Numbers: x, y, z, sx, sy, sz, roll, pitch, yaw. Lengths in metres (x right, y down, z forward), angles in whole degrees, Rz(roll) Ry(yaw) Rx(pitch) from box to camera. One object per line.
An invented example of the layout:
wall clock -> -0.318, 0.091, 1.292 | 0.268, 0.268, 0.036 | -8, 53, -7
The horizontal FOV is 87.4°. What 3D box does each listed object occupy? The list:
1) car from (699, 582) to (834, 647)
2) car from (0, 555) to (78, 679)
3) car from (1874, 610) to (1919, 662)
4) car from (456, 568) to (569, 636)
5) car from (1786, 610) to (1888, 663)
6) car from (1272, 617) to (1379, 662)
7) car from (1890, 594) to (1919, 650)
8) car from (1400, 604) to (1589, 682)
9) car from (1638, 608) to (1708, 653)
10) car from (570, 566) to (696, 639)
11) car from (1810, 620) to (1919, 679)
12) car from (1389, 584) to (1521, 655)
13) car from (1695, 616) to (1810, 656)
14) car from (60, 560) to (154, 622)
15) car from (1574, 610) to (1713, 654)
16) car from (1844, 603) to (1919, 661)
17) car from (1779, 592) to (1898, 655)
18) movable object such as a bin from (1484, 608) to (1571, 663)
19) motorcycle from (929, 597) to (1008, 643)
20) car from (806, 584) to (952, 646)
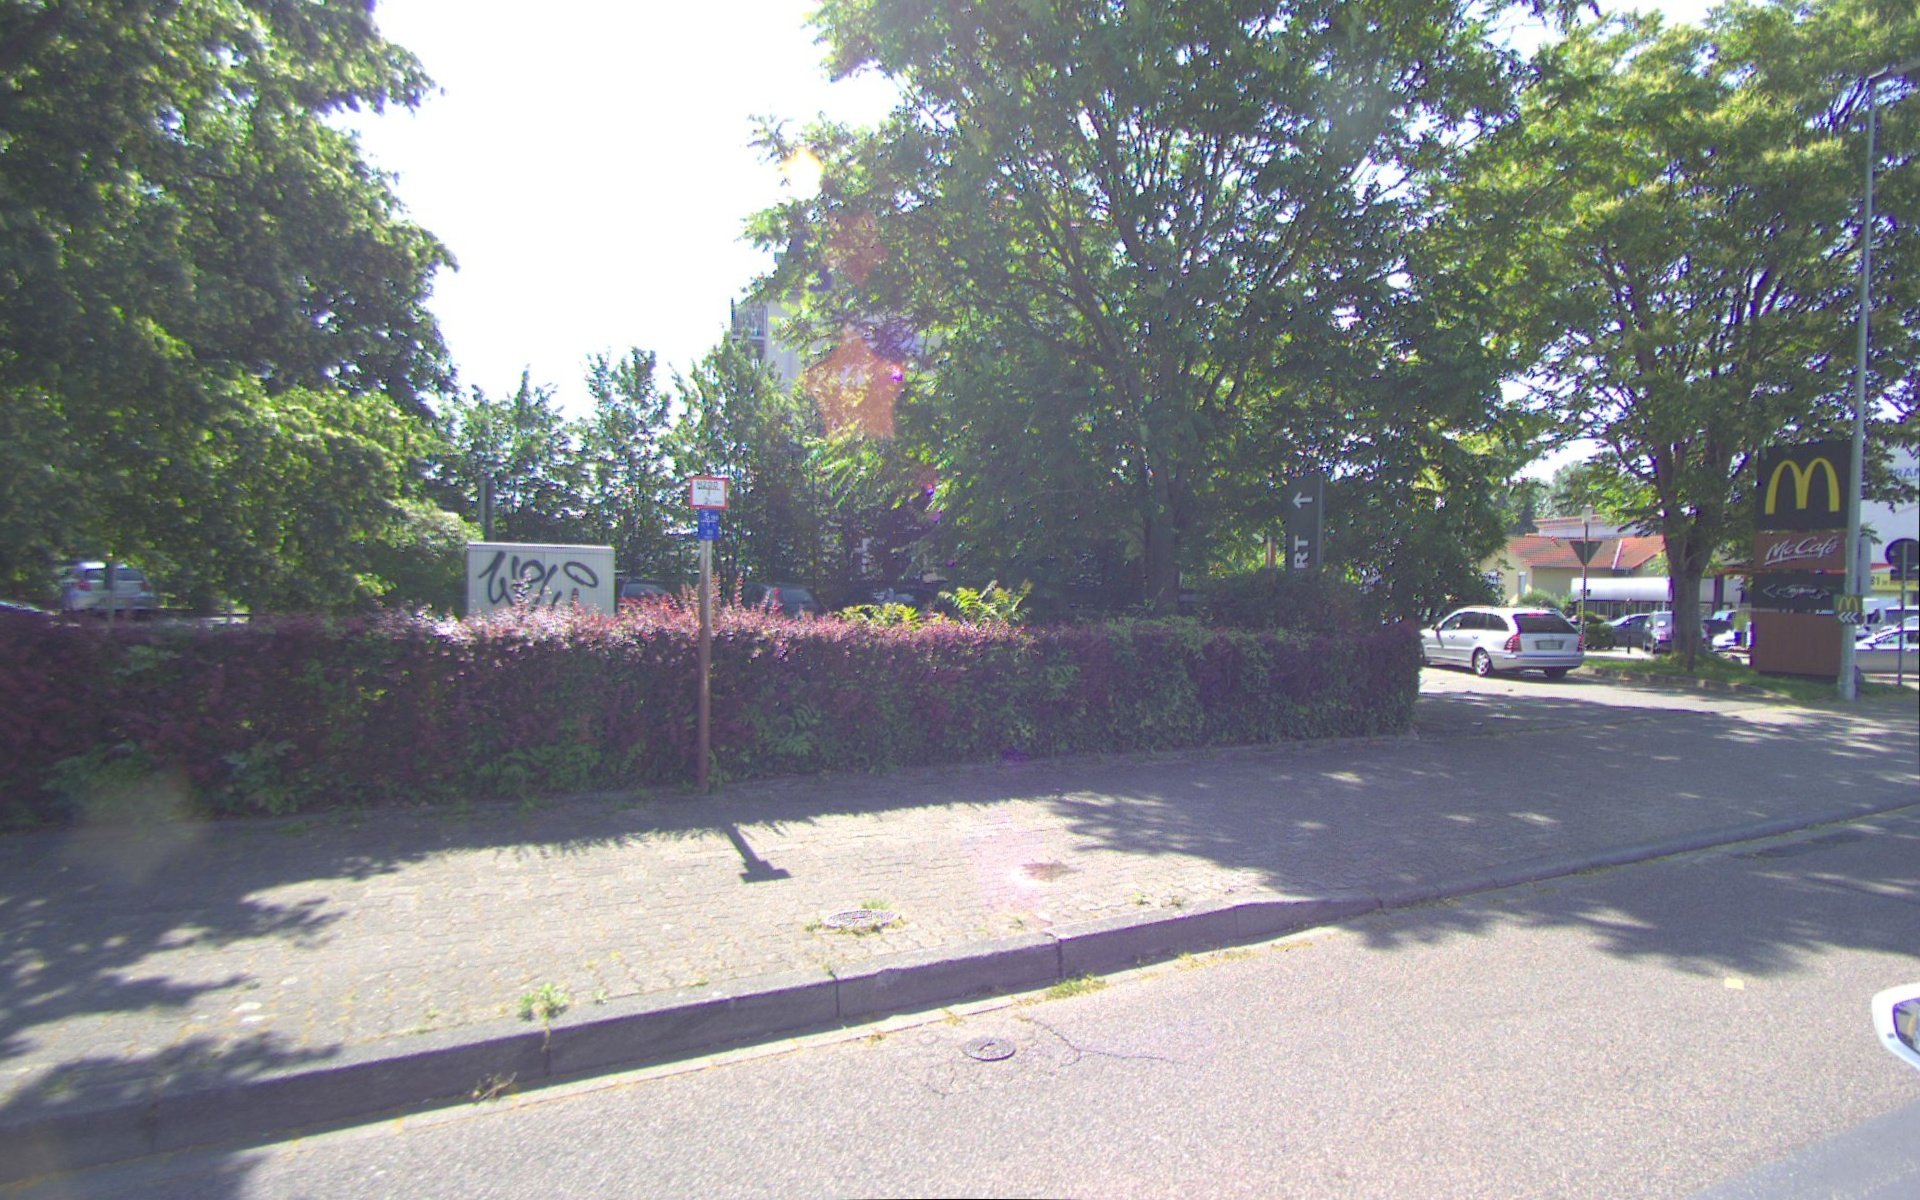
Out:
car -> -5.007, 0.319, 25.598 | 1.614, 1.414, 4.023 | 1, 2, -40
car -> -14.680, 0.142, 12.640 | 4.966, 1.581, 2.060 | 2, 0, -27
car -> 33.424, 1.229, 34.030 | 1.943, 1.729, 4.666 | 0, -3, 20
car -> -11.865, 0.024, 26.519 | 1.631, 1.609, 3.802 | 1, 2, -42
car -> 30.711, 1.273, 35.317 | 2.013, 1.729, 4.305 | 0, -2, 32
car -> 13.632, 1.453, 37.563 | 3.341, 1.485, 1.693 | -2, 0, -3
car -> 45.837, 1.137, 46.952 | 5.663, 2.463, 2.230 | 2, 3, -35
car -> 11.256, 0.832, 21.535 | 1.680, 1.422, 4.386 | 1, 1, 0
car -> 28.394, 1.187, 40.114 | 1.778, 1.678, 4.308 | 0, -1, 29
car -> -8.748, 0.024, 26.674 | 1.787, 1.755, 3.976 | 1, 2, -40
car -> 25.919, 1.341, 26.971 | 1.670, 1.513, 4.548 | 1, 0, -43
car -> 14.669, 0.645, 30.062 | 1.855, 1.945, 4.527 | -1, -3, 3
car -> 33.922, 1.499, 42.987 | 4.620, 1.596, 1.904 | 1, 0, -23
car -> -22.467, -0.269, 26.428 | 1.781, 1.470, 3.997 | 1, 2, -42
car -> 31.178, 1.416, 45.996 | 4.794, 1.867, 2.163 | 1, 0, 17
car -> 40.602, 1.412, 43.460 | 4.770, 2.381, 2.234 | 2, -1, -32
car -> 41.258, 1.137, 47.126 | 6.078, 2.794, 2.267 | 2, -1, -29
movable object such as a bin -> 16.970, 1.057, 30.093 | 1.429, 1.546, 1.773 | -2, -1, -10
motorcycle -> 0.221, 0.519, 27.144 | 2.146, 1.131, 0.568 | 3, 2, 34
car -> -2.191, 0.348, 26.265 | 1.756, 1.406, 4.046 | 1, 2, -40
